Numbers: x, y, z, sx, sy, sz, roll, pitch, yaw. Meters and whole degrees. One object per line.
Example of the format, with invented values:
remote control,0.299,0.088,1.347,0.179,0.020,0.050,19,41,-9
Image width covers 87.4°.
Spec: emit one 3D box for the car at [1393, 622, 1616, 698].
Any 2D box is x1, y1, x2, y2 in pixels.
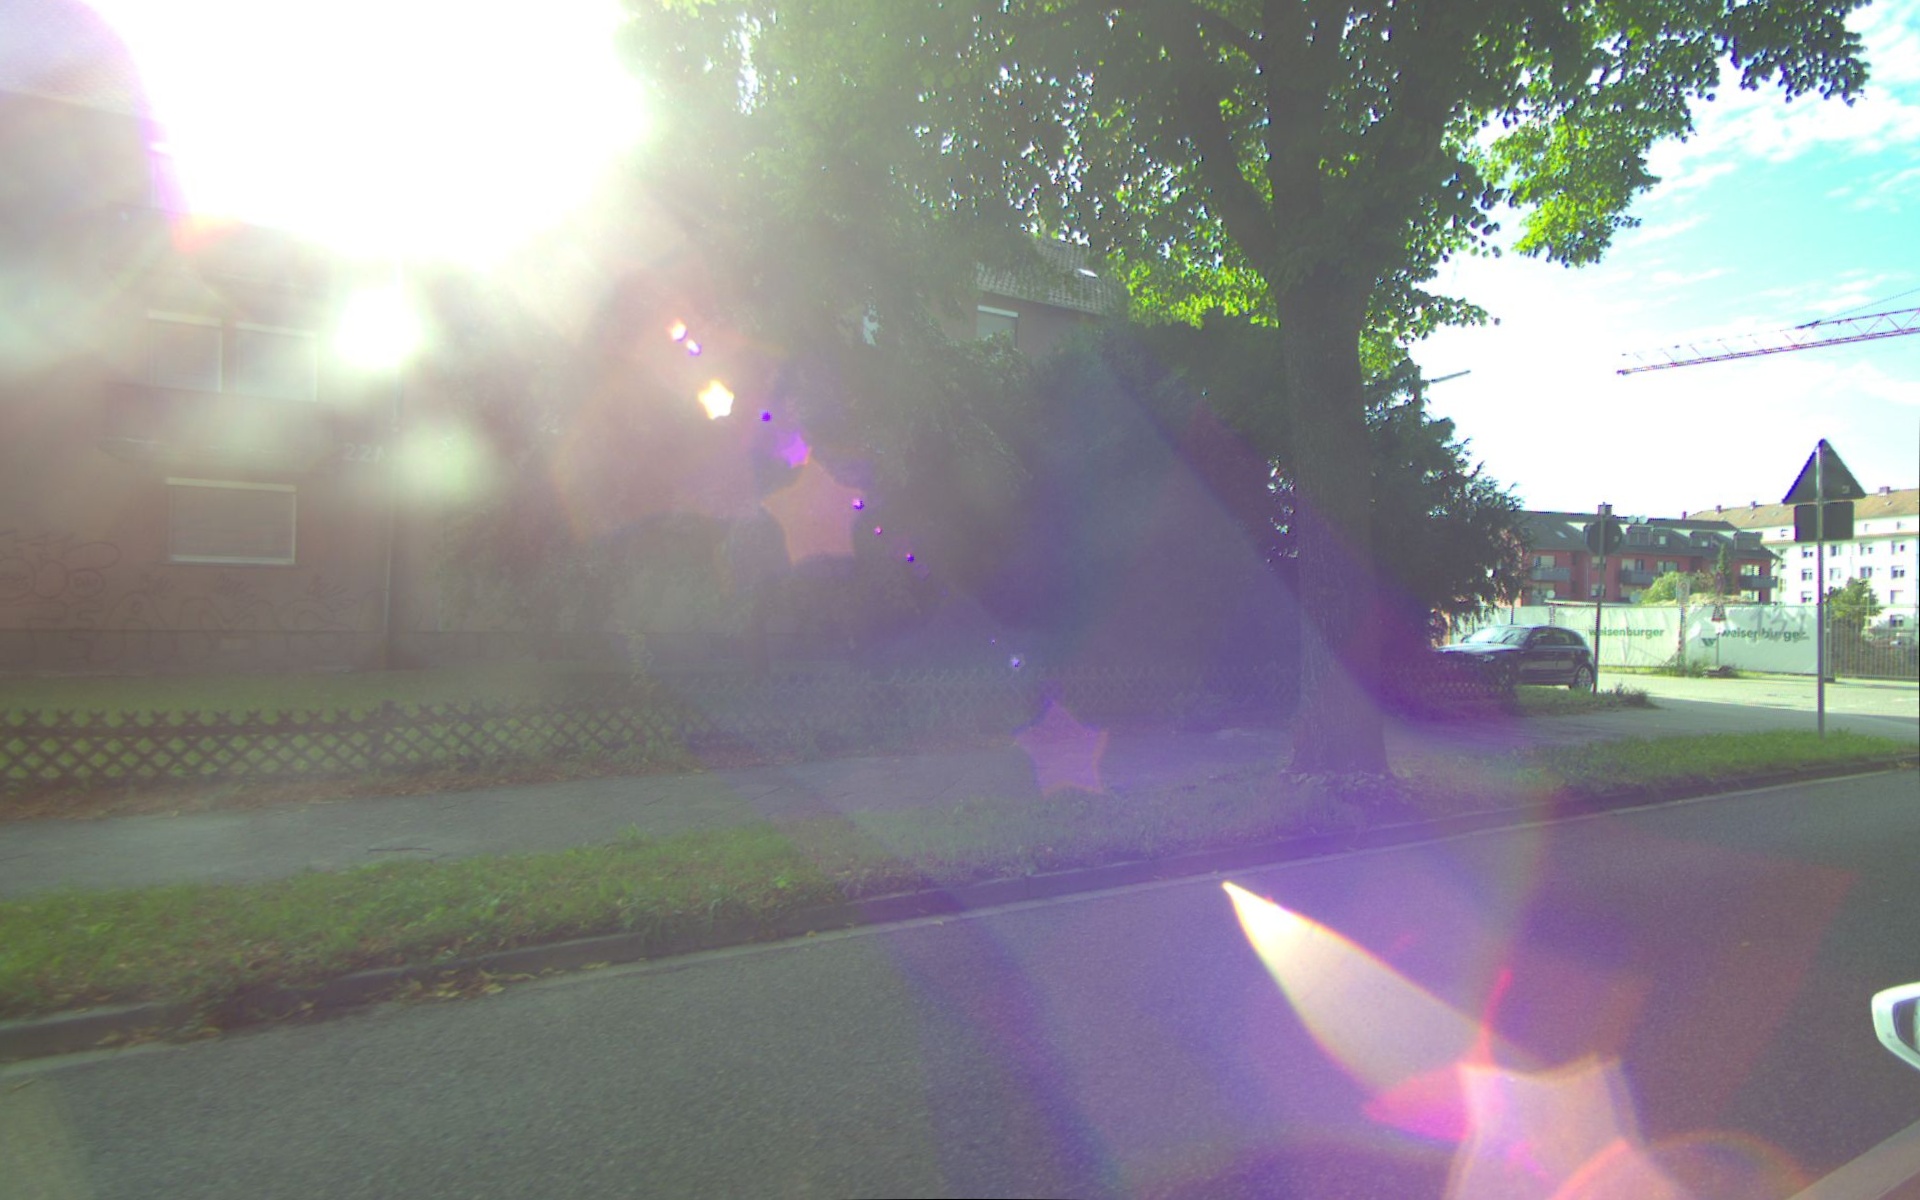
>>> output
car,11.485,1.254,21.141,4.450,1.447,1.986,3,-2,-27
